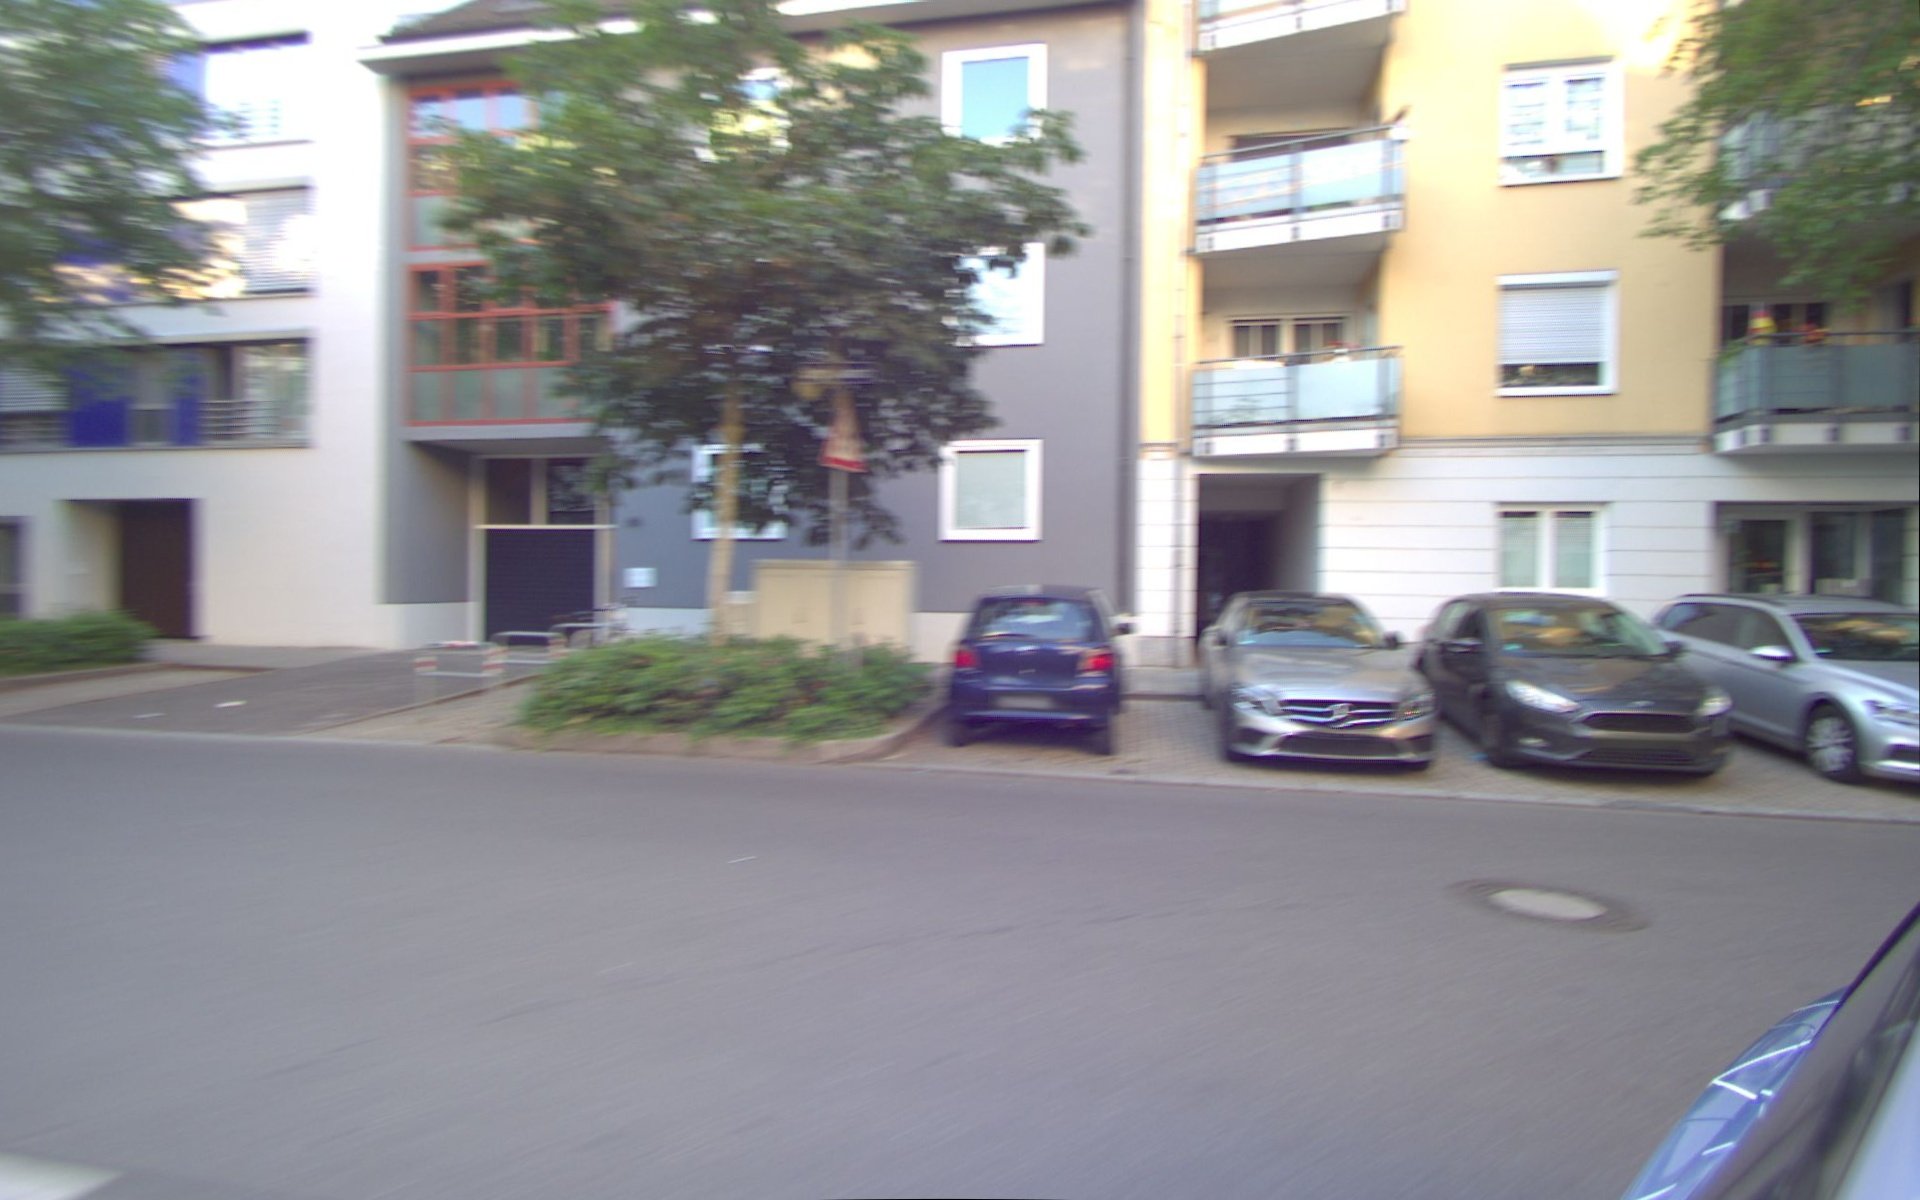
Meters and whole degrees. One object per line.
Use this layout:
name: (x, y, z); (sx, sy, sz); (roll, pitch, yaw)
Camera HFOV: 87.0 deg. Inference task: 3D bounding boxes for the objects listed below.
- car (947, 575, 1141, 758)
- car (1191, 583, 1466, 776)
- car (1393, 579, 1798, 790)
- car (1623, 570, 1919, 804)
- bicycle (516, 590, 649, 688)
car: (1.034, 0.554, 10.829); (1.718, 1.544, 3.352); (1, 3, 11)
car: (3.449, 0.614, 10.324); (1.841, 1.527, 4.282); (0, 0, 9)
car: (5.732, 0.620, 9.818); (1.823, 1.583, 4.071); (0, 0, 8)
car: (8.236, 0.634, 9.209); (1.806, 1.725, 4.800); (0, 0, 8)
bicycle: (-4.991, 0.495, 13.423); (1.477, 1.185, 0.726); (1, 5, 12)
